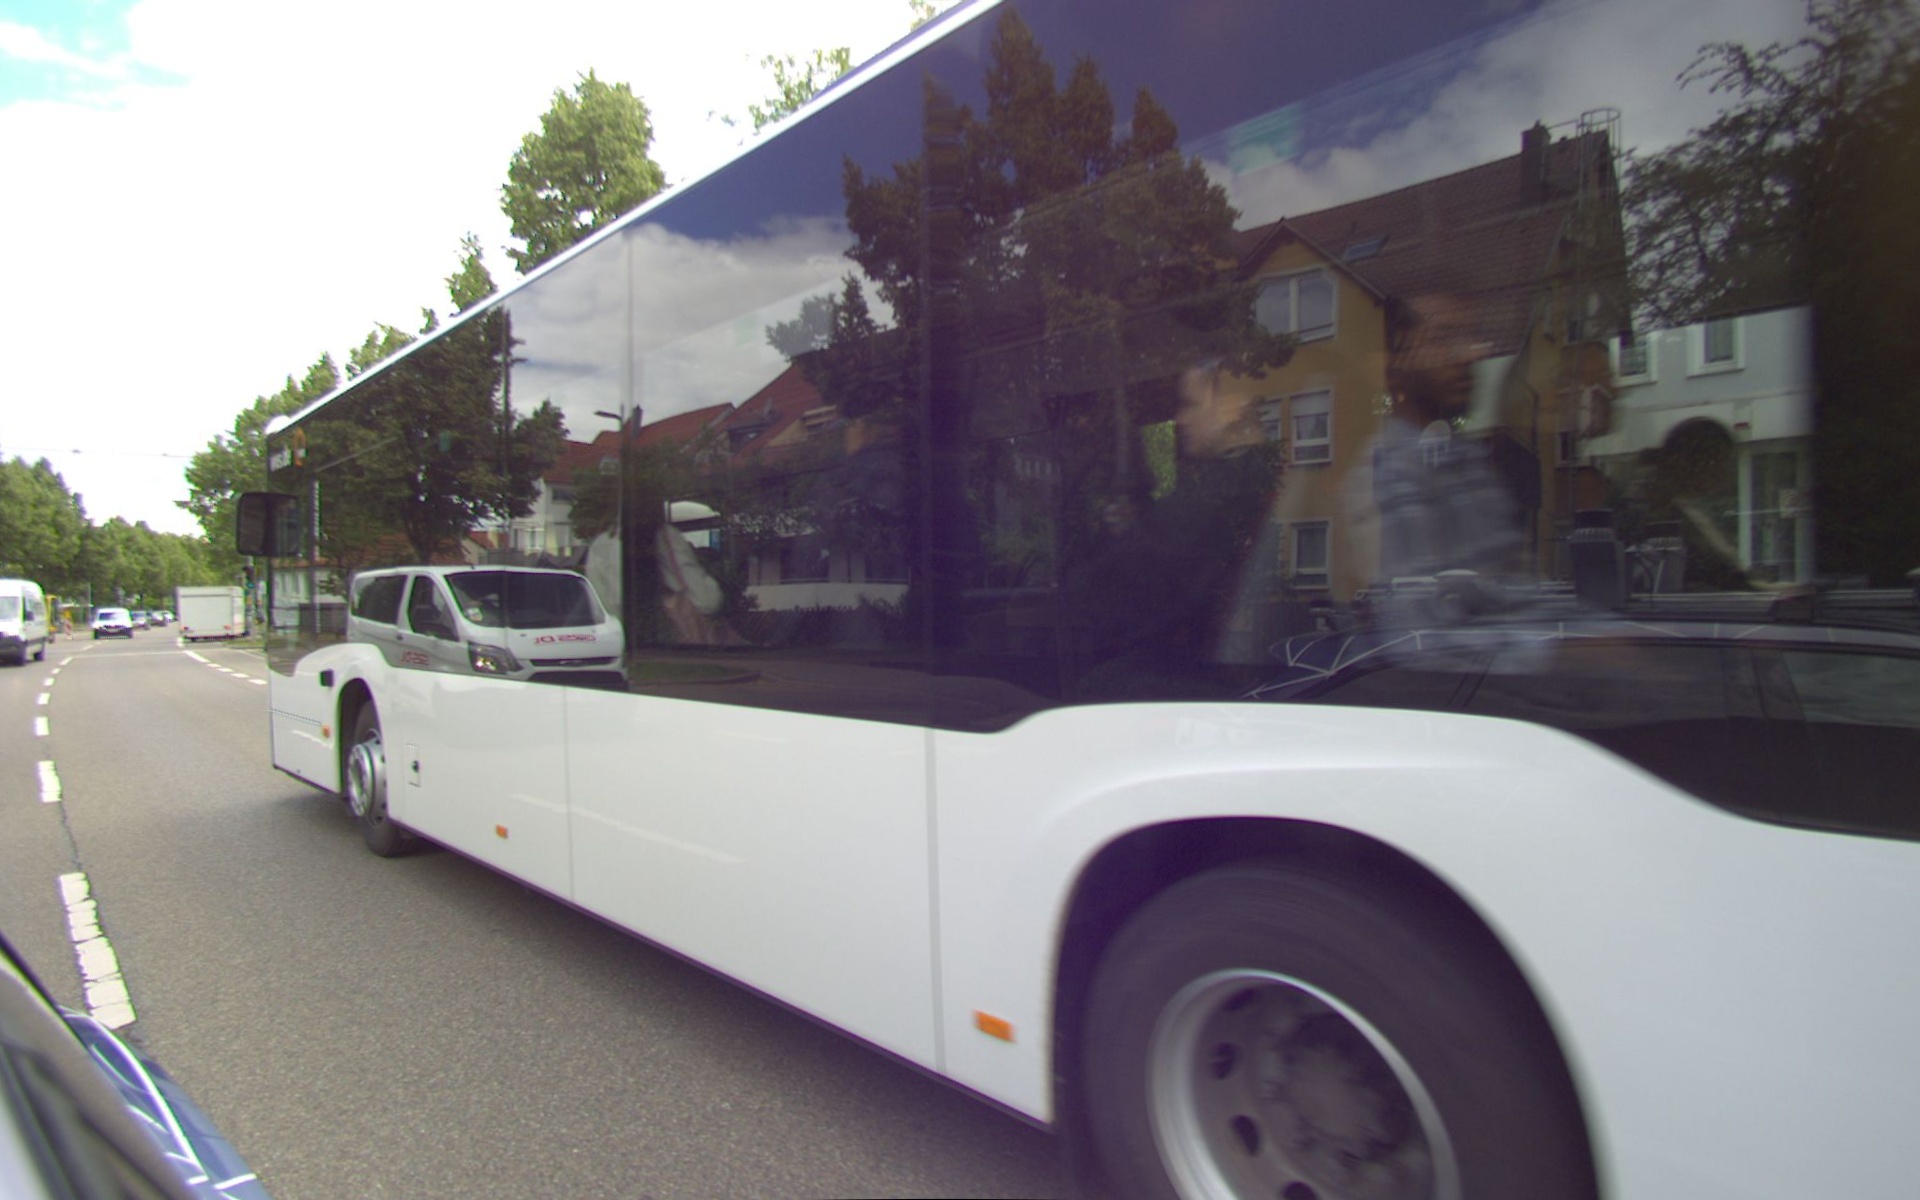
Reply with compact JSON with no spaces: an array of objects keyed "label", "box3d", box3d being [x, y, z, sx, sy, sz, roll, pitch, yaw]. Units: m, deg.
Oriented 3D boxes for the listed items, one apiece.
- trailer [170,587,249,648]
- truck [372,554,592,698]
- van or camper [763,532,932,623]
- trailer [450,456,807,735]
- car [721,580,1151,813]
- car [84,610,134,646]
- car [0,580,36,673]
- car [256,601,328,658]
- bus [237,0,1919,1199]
[{"label":"trailer","box3d":[-39.026,0.886,52.827,2.598,2.900,6.891,-1,0,-31]},{"label":"truck","box3d":[-9.377,0.442,19.432,2.266,2.304,6.474,-1,0,-40]},{"label":"van or camper","box3d":[-4.017,-0.694,35.316,5.937,2.905,2.568,-1,0,43]},{"label":"trailer","box3d":[-5.024,-0.019,14.298,2.342,2.985,7.022,-1,0,-40]},{"label":"car","box3d":[-0.430,0.714,9.626,1.669,1.696,4.229,-2,1,-43]},{"label":"car","box3d":[-50.926,1.674,60.611,1.967,2.029,4.010,-1,0,-35]},{"label":"car","box3d":[-29.106,0.815,30.134,1.968,2.619,4.008,-3,1,-38]},{"label":"car","box3d":[-24.108,1.025,36.471,1.686,1.888,4.406,-2,0,-40]},{"label":"bus","box3d":[1.775,-0.120,2.348,2.773,3.313,18.056,-2,1,-45]}]
